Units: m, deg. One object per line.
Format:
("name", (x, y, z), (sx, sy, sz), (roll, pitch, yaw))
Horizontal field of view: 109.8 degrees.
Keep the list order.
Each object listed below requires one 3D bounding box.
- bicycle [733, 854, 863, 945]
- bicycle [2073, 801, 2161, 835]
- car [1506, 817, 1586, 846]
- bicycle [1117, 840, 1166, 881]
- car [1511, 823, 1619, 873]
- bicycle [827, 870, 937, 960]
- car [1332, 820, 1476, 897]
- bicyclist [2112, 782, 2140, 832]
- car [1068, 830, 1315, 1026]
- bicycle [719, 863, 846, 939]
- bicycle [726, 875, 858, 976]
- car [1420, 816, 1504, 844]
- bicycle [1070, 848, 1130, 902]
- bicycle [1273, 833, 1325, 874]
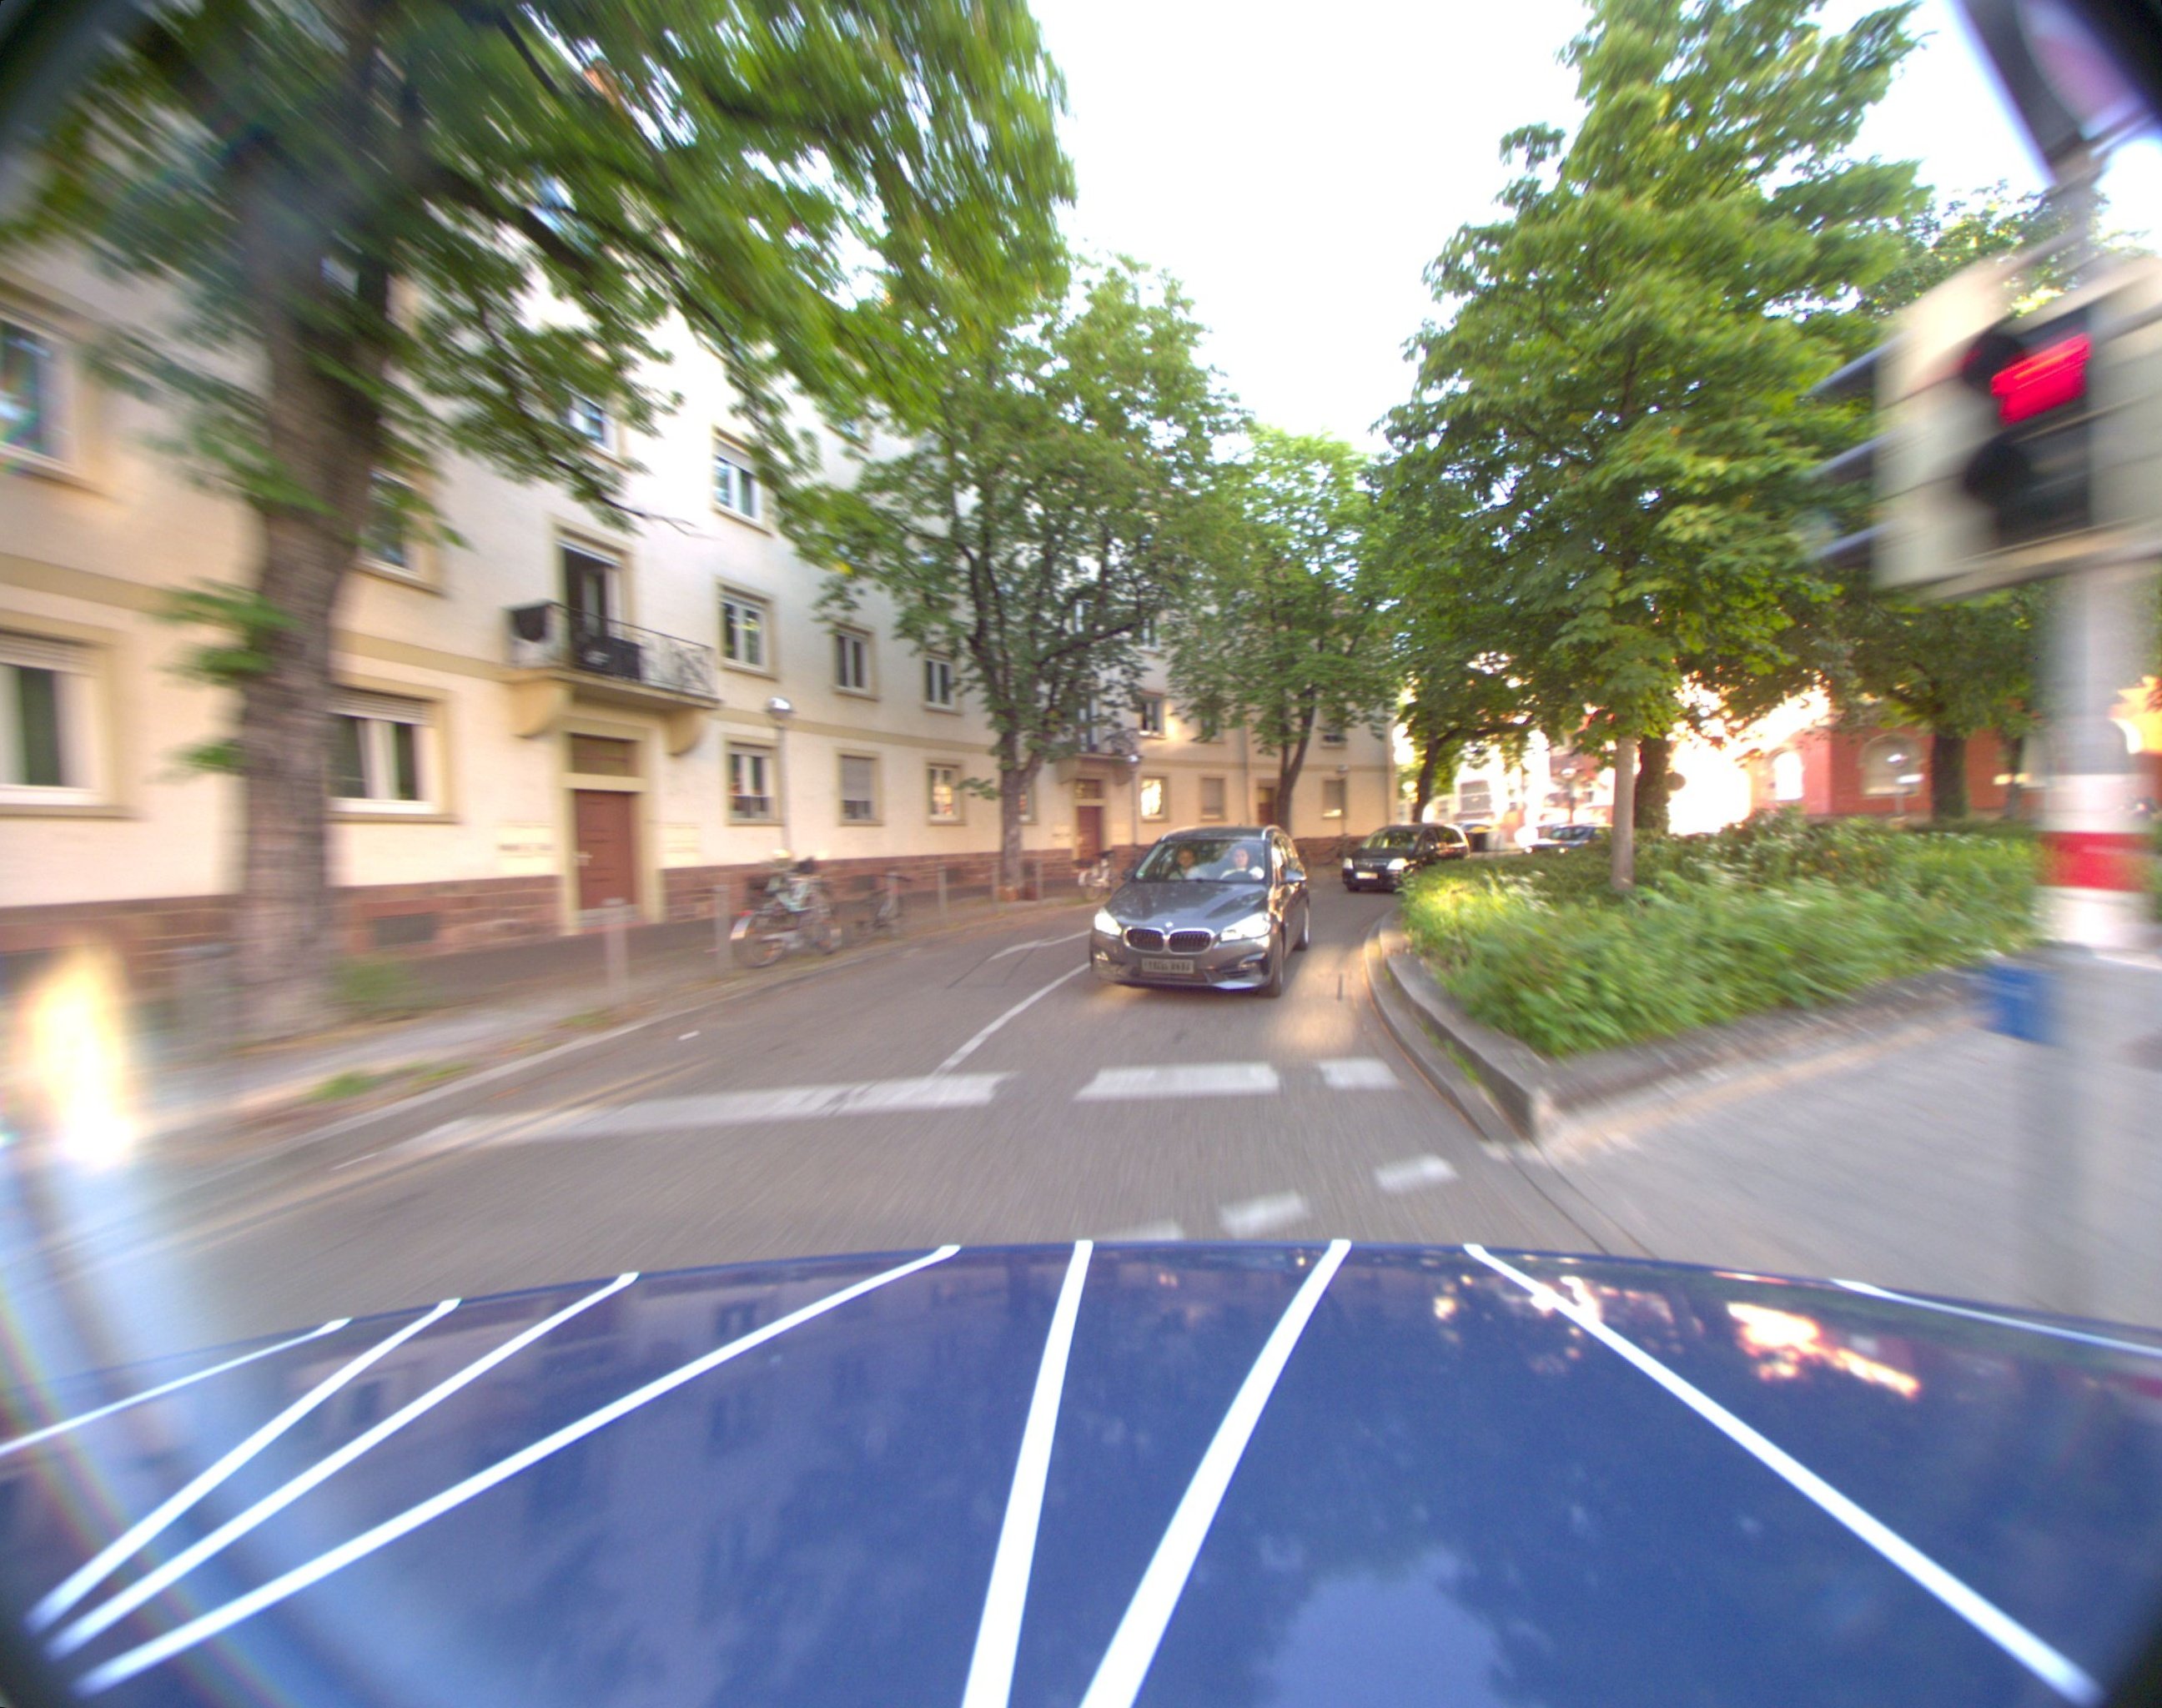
("bicycle", (-4.547, 0.683, 12.371), (0.717, 1.270, 1.970), (1, 3, 29))
("bicycle", (33.866, -1.171, 24.668), (0.639, 1.051, 1.976), (-3, 3, -38))
("car", (26.073, -1.265, 42.782), (1.805, 1.544, 4.183), (-1, 1, -3))
("bicycle", (1.806, 0.167, 22.538), (0.801, 1.112, 1.861), (-1, 2, 26))
("car", (15.377, -0.238, 24.093), (3.694, 1.401, 1.676), (-3, 4, -37))
("bicycle", (-2.849, 0.833, 11.054), (0.526, 1.101, 1.743), (3, 3, 26))
("car", (7.845, 0.029, 18.322), (3.694, 1.620, 1.675), (-3, 4, -40))
("bicyclist", (33.847, -1.520, 24.617), (0.496, 1.565, 0.500), (-3, 3, -36))
("car", (1.515, 0.549, 8.526), (1.790, 1.569, 4.266), (0, 2, 22))
("bicycle", (-5.017, 0.754, 12.905), (0.667, 1.101, 1.970), (-1, 2, 30))
("bicycle", (-3.557, 0.841, 9.493), (0.480, 1.058, 1.638), (3, 3, 28))
("car", (20.986, -1.310, 41.910), (3.803, 1.417, 1.675), (-2, 2, -6))
("bicycle", (0.460, 0.456, 17.560), (0.513, 1.090, 1.977), (2, 3, 30))
("bicycle", (7.055, -0.031, 24.567), (1.918, 1.216, 0.717), (-3, 3, -43))
